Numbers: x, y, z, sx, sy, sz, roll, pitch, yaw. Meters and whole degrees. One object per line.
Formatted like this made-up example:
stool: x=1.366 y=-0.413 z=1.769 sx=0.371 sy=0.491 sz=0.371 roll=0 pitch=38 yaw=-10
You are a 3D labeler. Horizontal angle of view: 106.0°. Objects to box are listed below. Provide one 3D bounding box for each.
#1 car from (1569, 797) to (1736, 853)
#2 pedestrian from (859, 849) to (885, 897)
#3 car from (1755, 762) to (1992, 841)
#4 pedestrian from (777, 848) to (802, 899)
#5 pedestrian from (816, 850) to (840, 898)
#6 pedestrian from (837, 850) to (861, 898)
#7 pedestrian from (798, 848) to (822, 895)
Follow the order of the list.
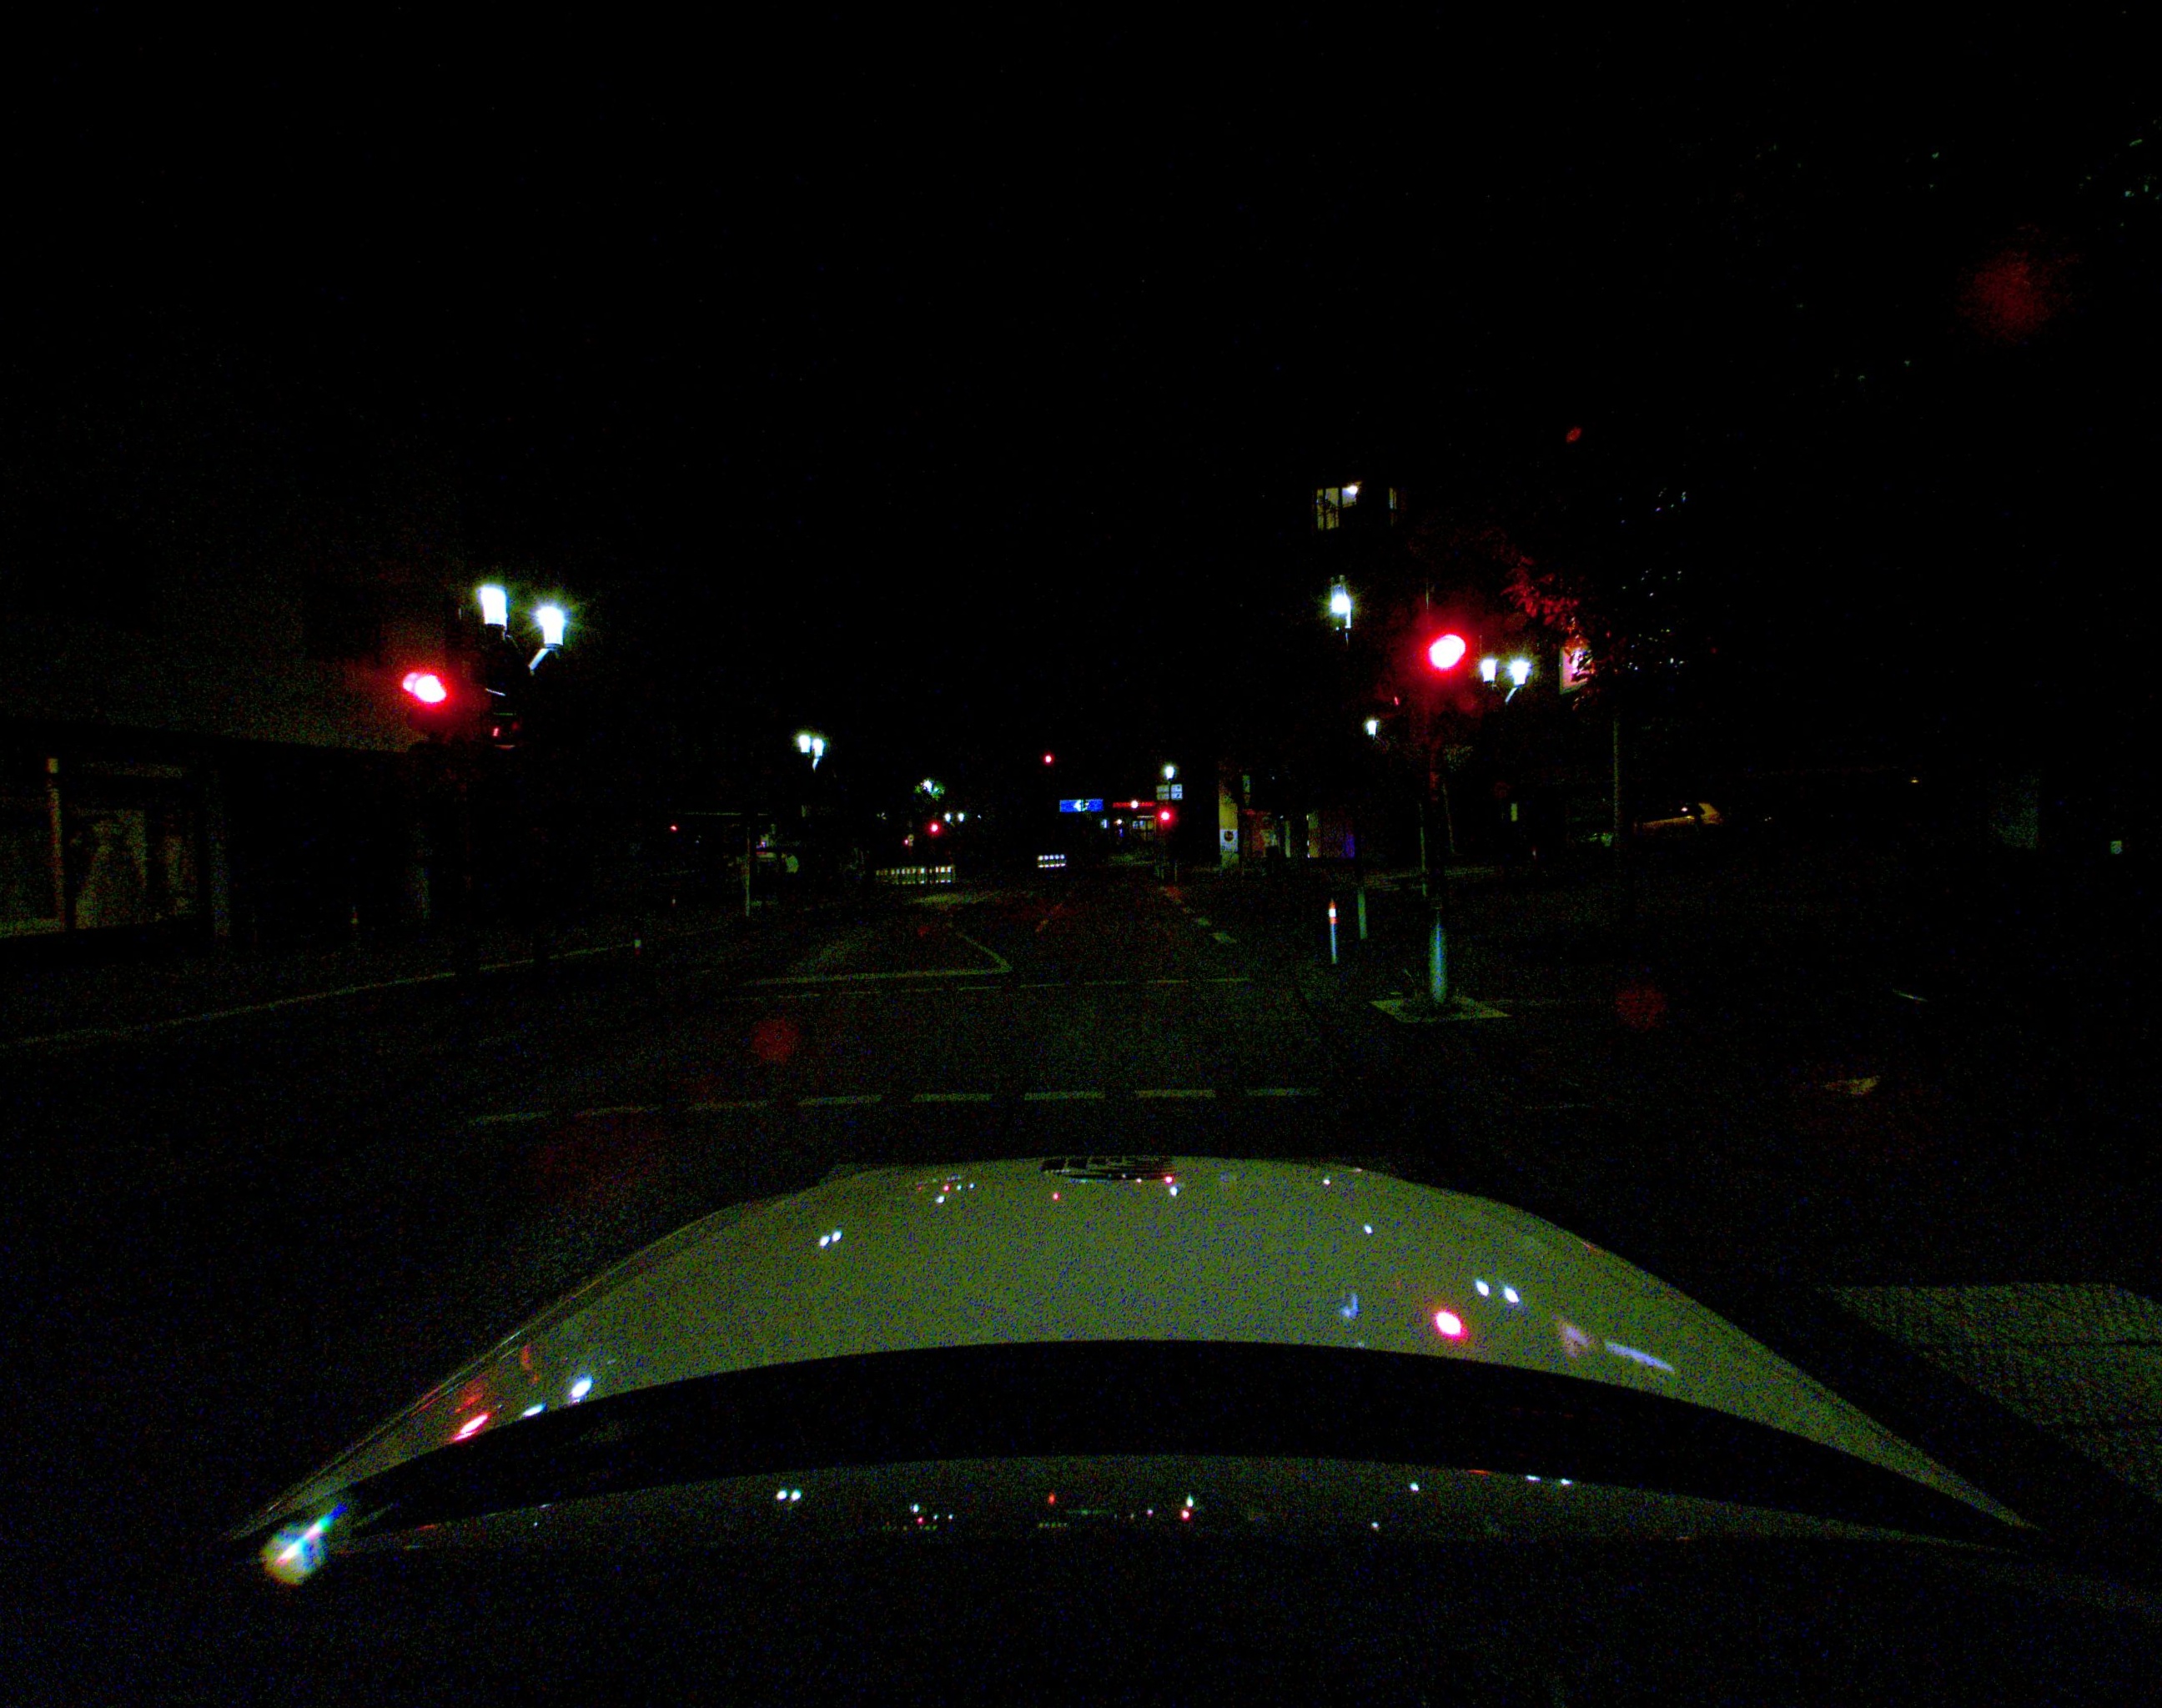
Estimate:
car: x=18.523 y=-0.914 z=26.580 sx=4.019 sy=1.452 sz=1.830 roll=-4 pitch=0 yaw=8
pedestrian: x=-8.044 y=0.739 z=31.332 sx=0.712 sy=1.795 sz=0.739 roll=-1 pitch=-2 yaw=8
car: x=23.403 y=-1.465 z=24.396 sx=4.783 sy=1.910 sz=2.172 roll=-2 pitch=-2 yaw=37
pedestrian: x=-10.499 y=0.709 z=29.317 sx=0.715 sy=1.795 sz=0.568 roll=0 pitch=-2 yaw=-7
pedestrian: x=-9.559 y=0.750 z=30.775 sx=0.712 sy=1.795 sz=0.571 roll=-1 pitch=-2 yaw=8
pedestrian: x=-8.790 y=0.754 z=30.896 sx=0.712 sy=1.795 sz=0.571 roll=-1 pitch=-2 yaw=8
pedestrian: x=-10.649 y=0.693 z=31.980 sx=0.712 sy=1.795 sz=0.571 roll=-1 pitch=-2 yaw=8
